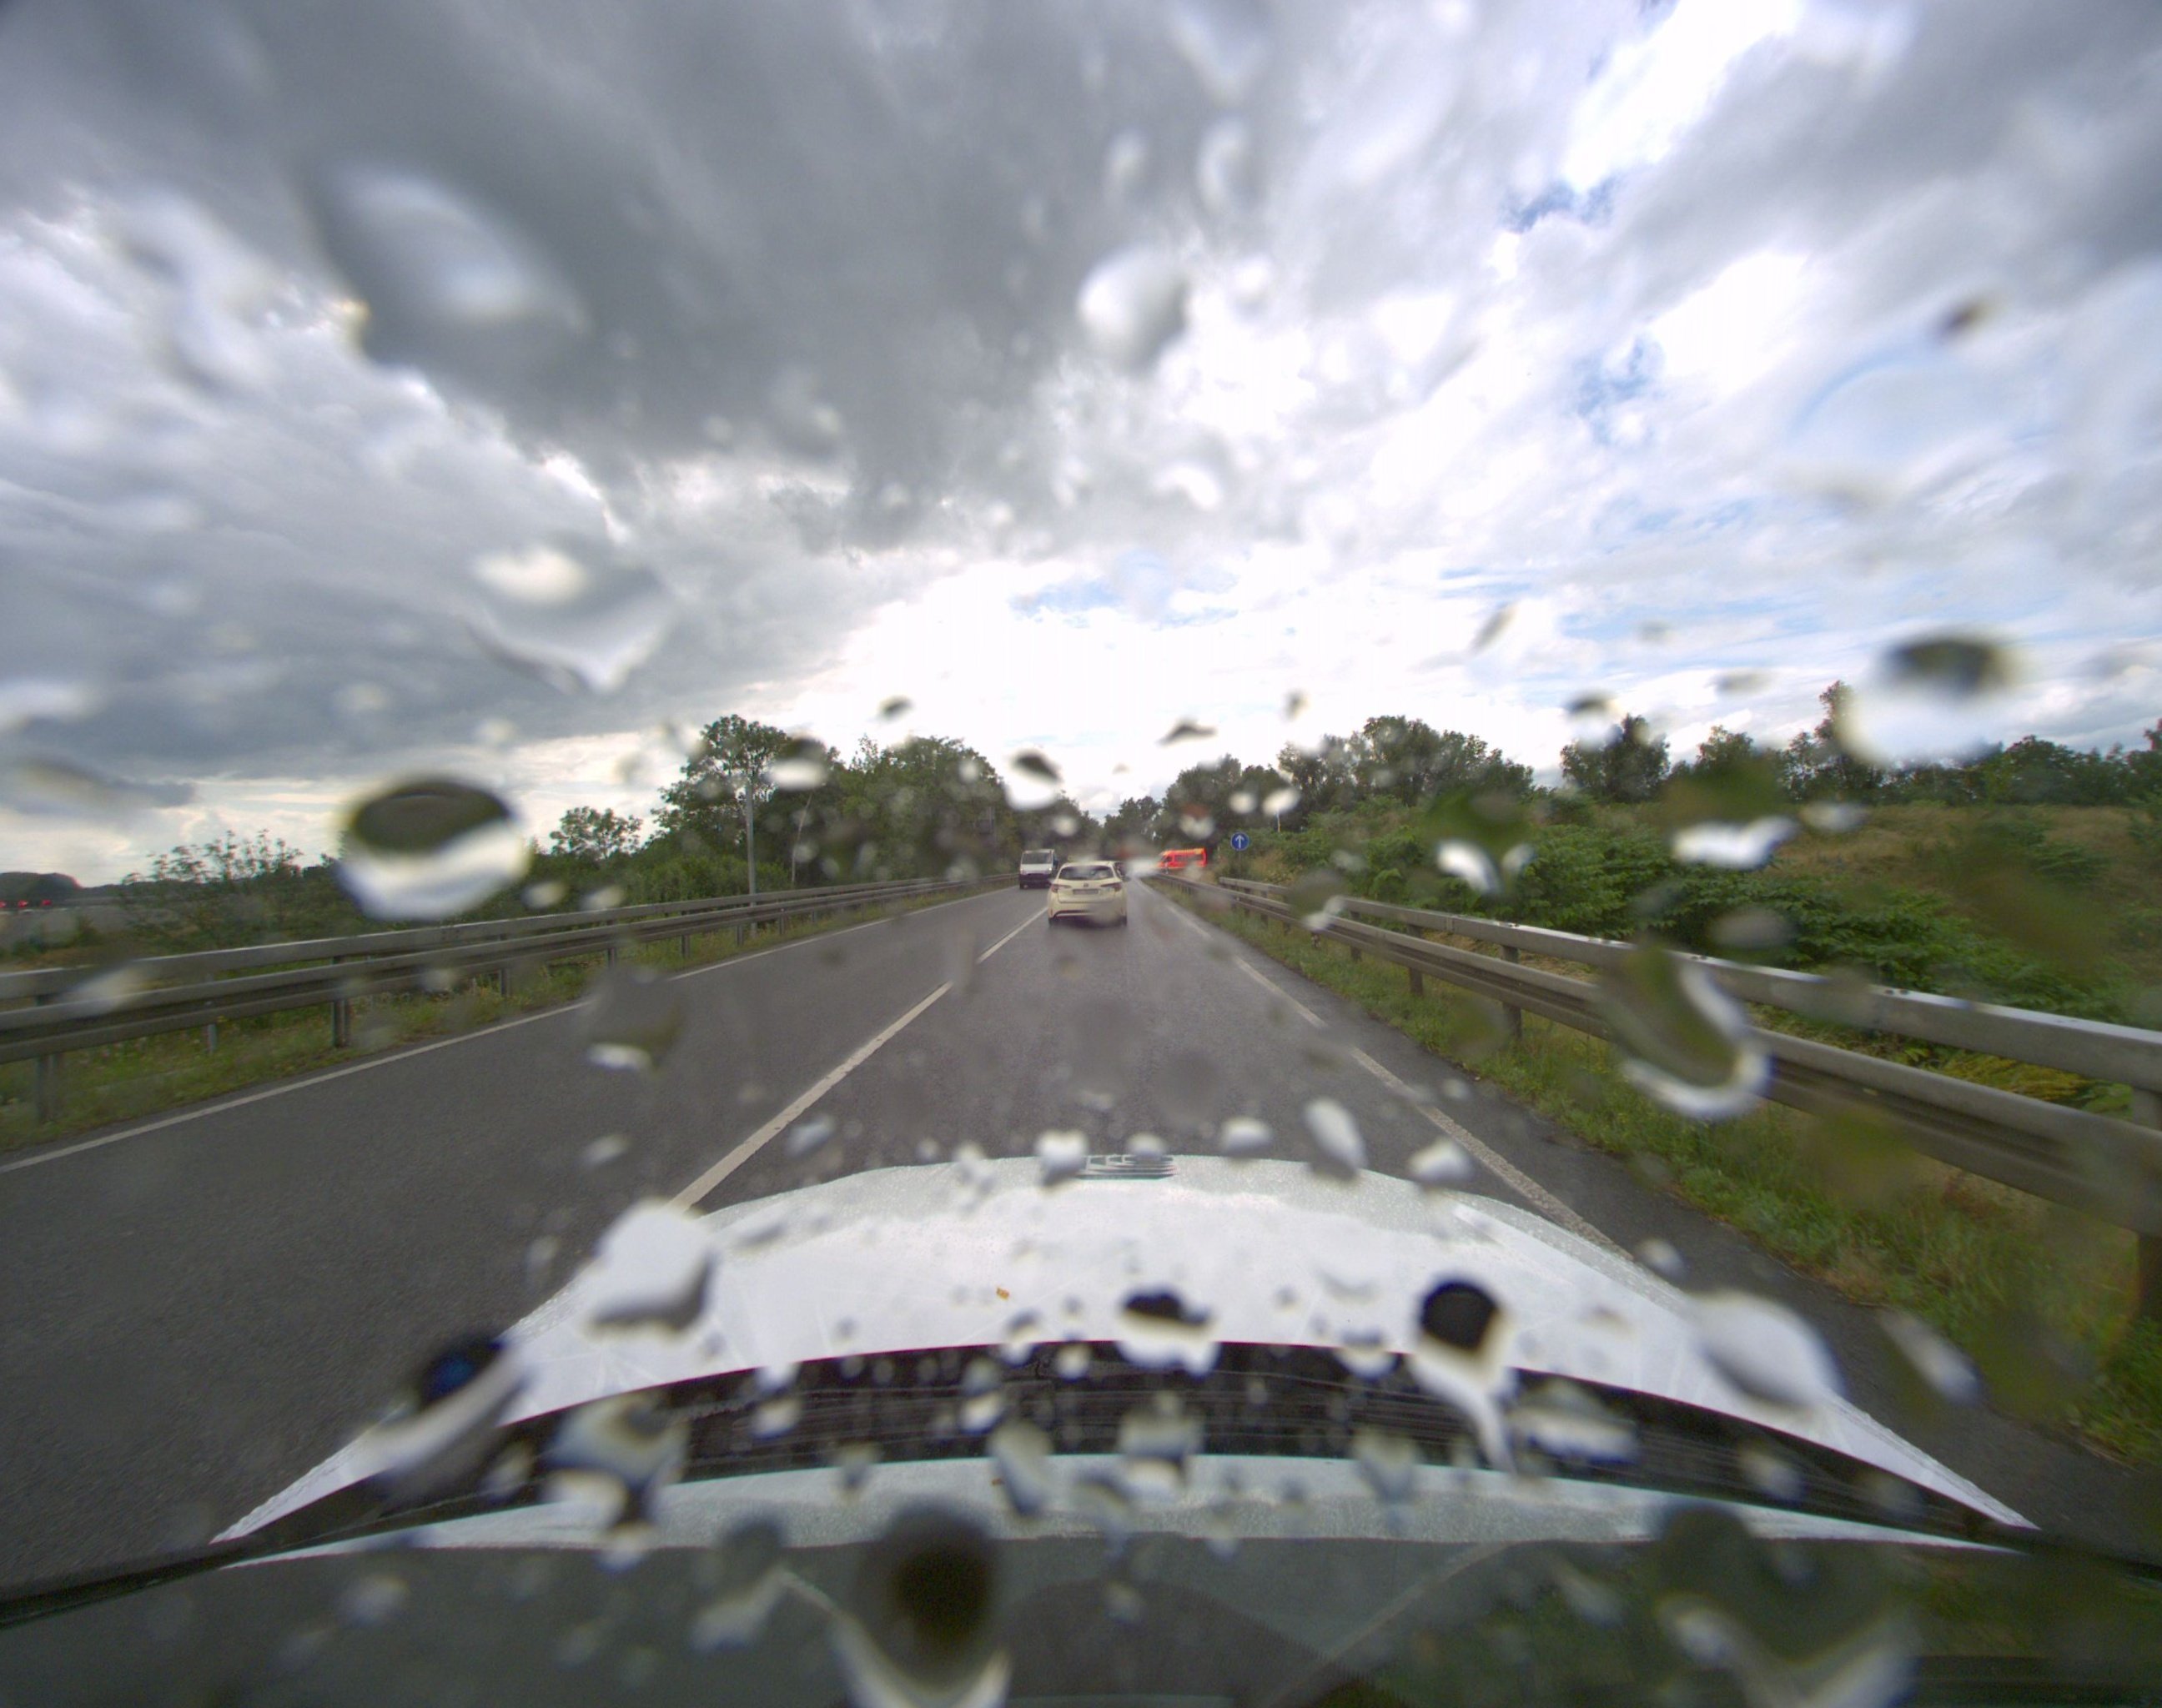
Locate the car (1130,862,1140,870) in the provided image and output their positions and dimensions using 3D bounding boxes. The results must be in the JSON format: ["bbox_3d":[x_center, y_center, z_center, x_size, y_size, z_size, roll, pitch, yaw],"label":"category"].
[{"bbox_3d":[10.267,2.256,155.826,1.846,1.443,4.176,-1,0,4],"label":"car"}]

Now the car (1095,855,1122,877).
[{"bbox_3d":[1.917,0.820,58.004,1.848,1.443,4.171,-1,1,1],"label":"car"}]

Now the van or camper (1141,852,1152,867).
[{"bbox_3d":[16.017,1.394,199.565,2.323,3.562,6.310,-1,0,2],"label":"van or camper"}]

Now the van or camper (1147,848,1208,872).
[{"bbox_3d":[9.526,0.569,80.782,5.686,2.241,2.010,-1,0,-14],"label":"van or camper"}]

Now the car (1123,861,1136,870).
[{"bbox_3d":[7.636,1.785,127.812,1.846,1.443,4.176,-1,0,4],"label":"car"}]

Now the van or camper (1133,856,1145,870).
[{"bbox_3d":[12.401,1.994,174.691,2.323,2.864,6.310,-1,0,2],"label":"van or camper"}]

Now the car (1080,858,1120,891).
[{"bbox_3d":[0.912,0.962,39.695,1.848,1.443,4.171,-1,1,1],"label":"car"}]

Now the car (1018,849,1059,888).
[{"bbox_3d":[-2.415,0.807,47.617,1.986,2.128,4.897,-1,0,2],"label":"car"}]

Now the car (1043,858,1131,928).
[{"bbox_3d":[0.158,0.836,19.371,1.848,1.394,4.171,-1,1,1],"label":"car"}]

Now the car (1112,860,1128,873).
[{"bbox_3d":[4.776,1.549,100.204,1.848,1.443,4.171,-1,0,1],"label":"car"}]

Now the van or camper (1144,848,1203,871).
[{"bbox_3d":[9.421,0.562,83.084,5.686,2.241,2.010,-1,0,-14],"label":"van or camper"}]

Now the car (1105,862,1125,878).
[{"bbox_3d":[3.262,1.526,78.357,1.848,1.443,4.171,-1,1,1],"label":"car"}]
